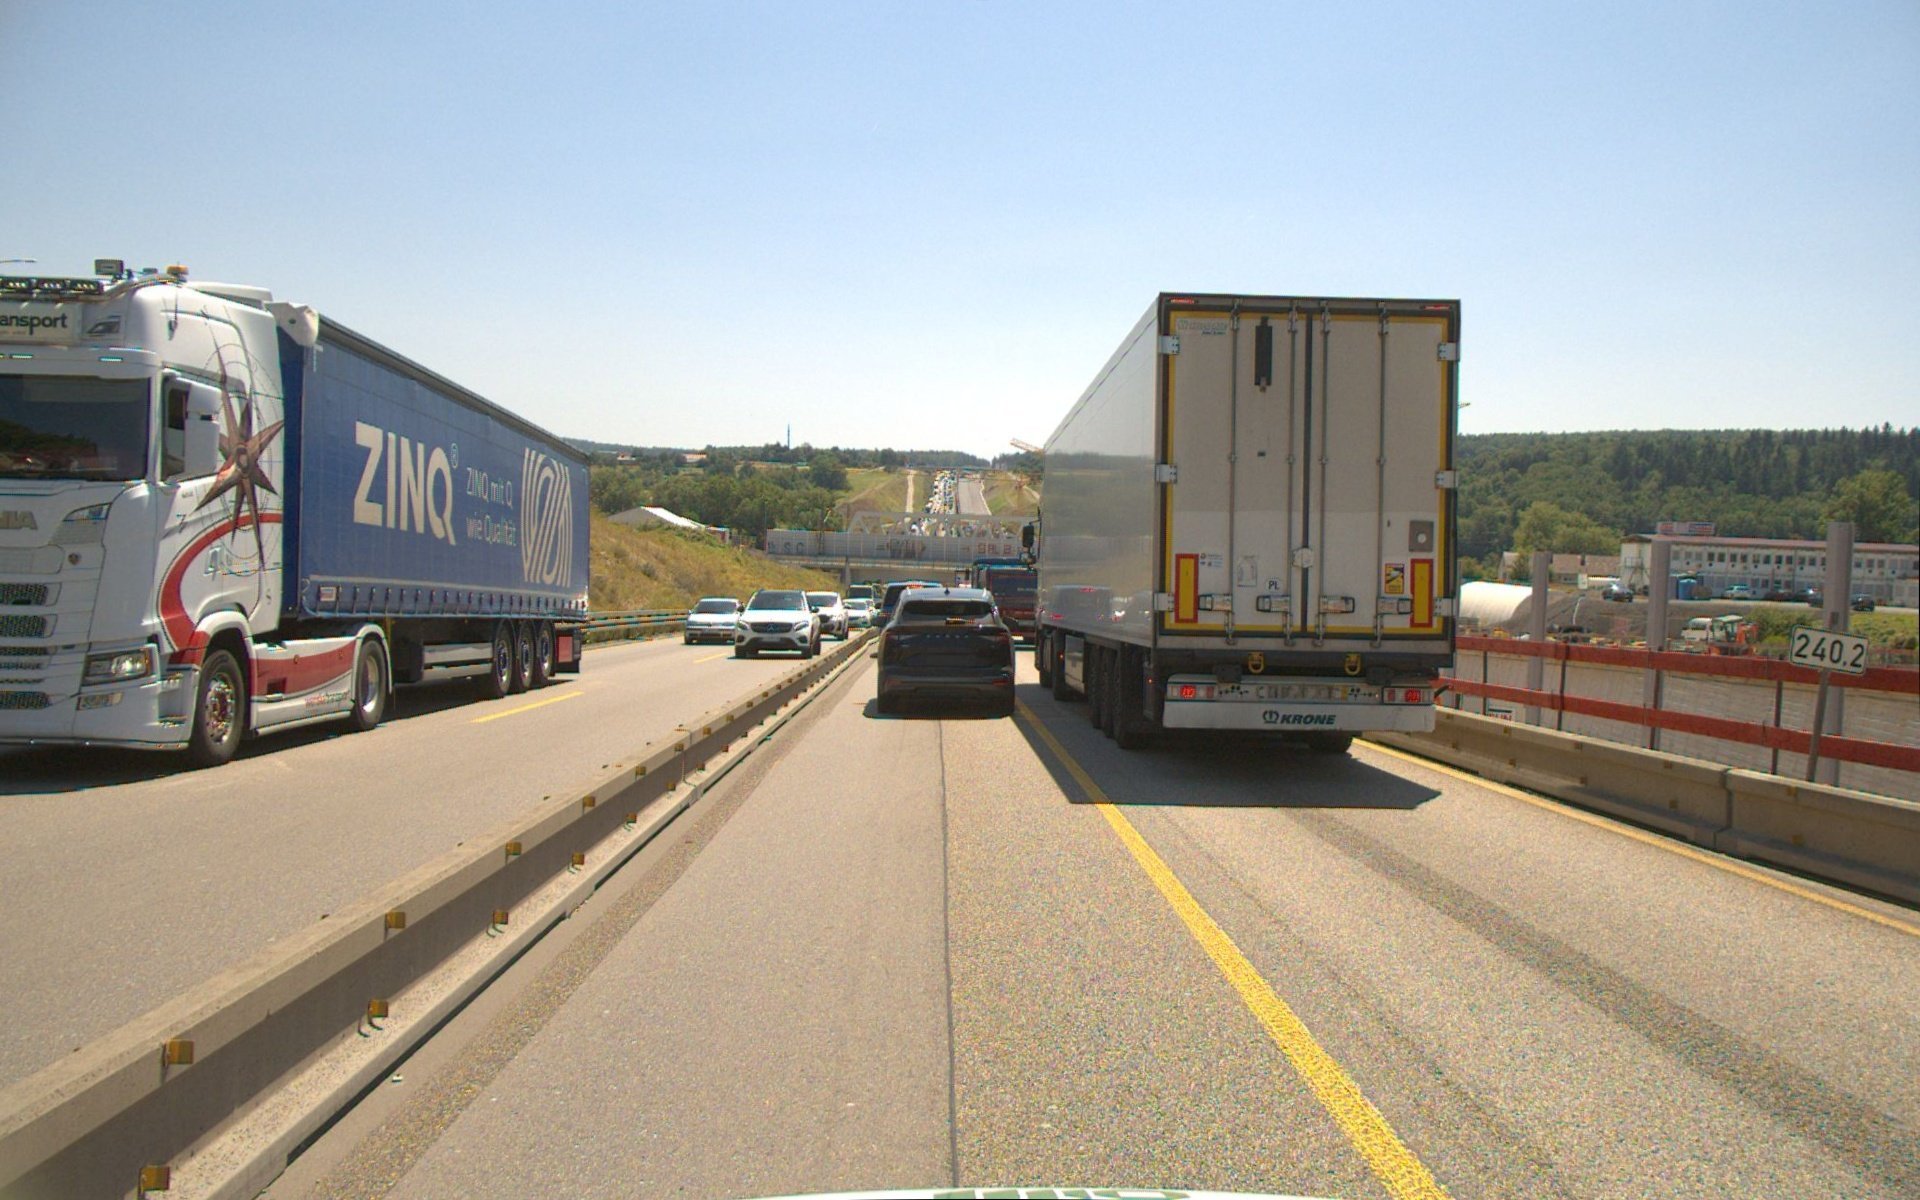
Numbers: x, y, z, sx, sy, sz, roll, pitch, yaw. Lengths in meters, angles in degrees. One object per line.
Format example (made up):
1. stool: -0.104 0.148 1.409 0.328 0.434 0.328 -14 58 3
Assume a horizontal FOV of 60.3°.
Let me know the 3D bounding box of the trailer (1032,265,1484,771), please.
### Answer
1. trailer: 2.764 -0.632 20.661 2.745 4.129 14.112 1 0 -1

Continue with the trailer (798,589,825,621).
1. trailer: -9.718 0.298 108.666 1.614 2.061 4.267 0 0 -4

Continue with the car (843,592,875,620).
1. car: -6.132 0.368 100.384 1.779 1.620 4.288 1 0 -2

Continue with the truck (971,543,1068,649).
1. truck: 1.846 -0.109 56.560 2.756 3.190 12.835 1 0 0

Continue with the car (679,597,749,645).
1. car: -7.645 0.625 51.698 1.667 1.403 3.965 1 0 -2

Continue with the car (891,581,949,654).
1. car: -1.022 0.430 43.240 1.445 1.826 3.297 0 0 -1

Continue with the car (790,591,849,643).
1. car: -4.964 0.572 58.947 1.853 1.738 4.559 1 0 -2

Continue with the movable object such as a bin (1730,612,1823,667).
1. movable object such as a bin: 35.470 1.686 71.928 1.953 2.278 4.151 1 0 0

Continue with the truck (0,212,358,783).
1. truck: -7.579 -0.774 14.373 3.174 4.232 4.246 1 0 -2

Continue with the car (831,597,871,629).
1. car: -5.337 0.626 81.188 1.770 1.503 4.278 1 0 -2

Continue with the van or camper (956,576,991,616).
1. van or camper: 0.797 -0.236 99.181 1.953 2.283 4.000 2 0 -1

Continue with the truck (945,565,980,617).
1. truck: 0.153 -0.713 135.219 2.467 4.028 7.597 2 0 -2

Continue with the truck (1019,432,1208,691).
1. truck: 2.554 -0.602 29.001 2.720 4.129 4.903 1 0 -2

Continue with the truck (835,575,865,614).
1. truck: -11.103 -0.563 167.546 2.534 3.788 9.330 0 0 -1

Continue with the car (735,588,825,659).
1. car: -4.420 0.544 41.231 1.775 1.666 4.361 1 0 0

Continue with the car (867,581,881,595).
1. car: -11.260 -1.557 216.086 1.697 1.825 3.579 1 0 -2

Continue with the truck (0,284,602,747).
1. truck: -7.773 -0.793 22.225 3.178 4.232 13.974 1 0 -1

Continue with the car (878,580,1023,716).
1. car: -0.145 0.580 22.106 1.764 1.648 3.297 1 0 -1

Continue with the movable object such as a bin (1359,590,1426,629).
1. movable object such as a bin: 34.656 0.721 132.976 2.829 2.960 9.478 1 0 0
